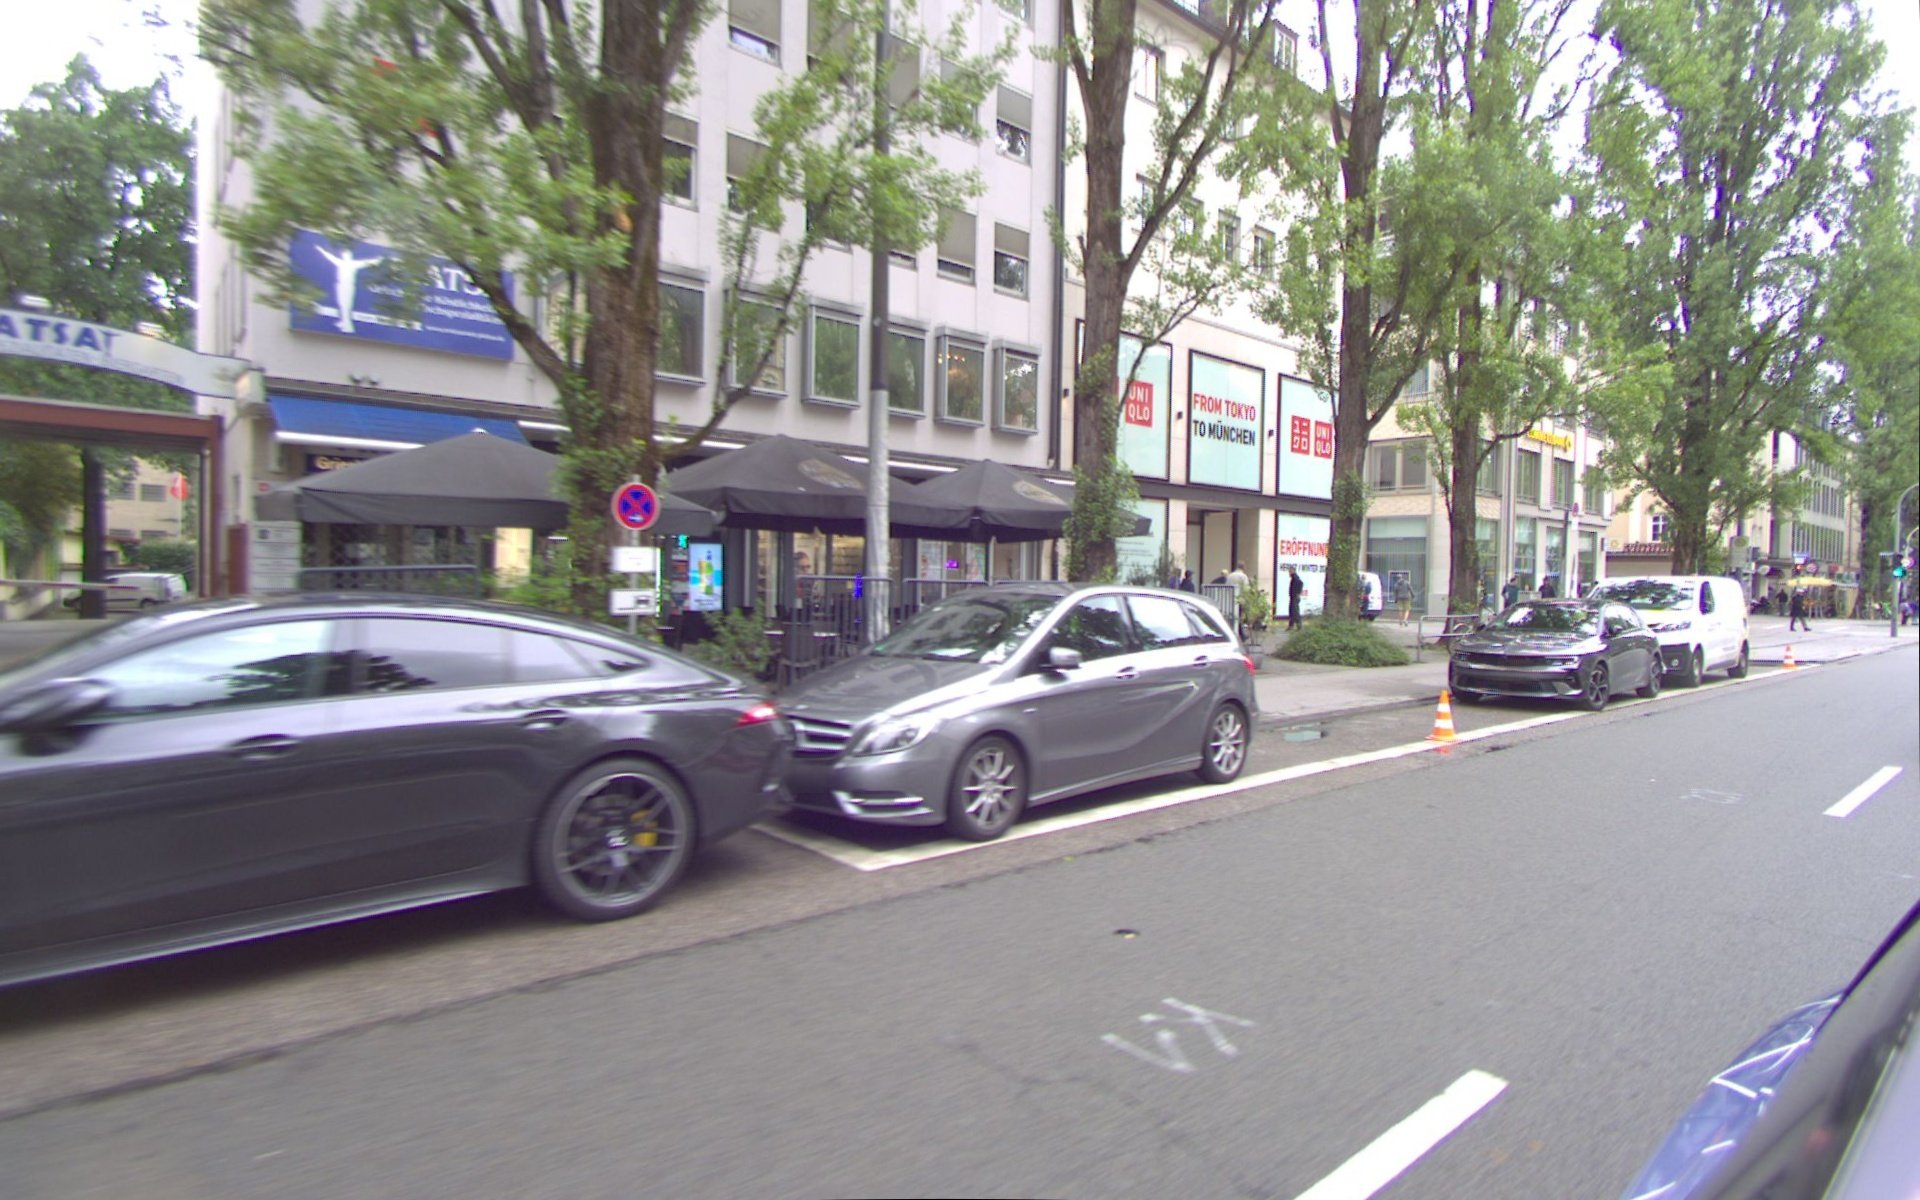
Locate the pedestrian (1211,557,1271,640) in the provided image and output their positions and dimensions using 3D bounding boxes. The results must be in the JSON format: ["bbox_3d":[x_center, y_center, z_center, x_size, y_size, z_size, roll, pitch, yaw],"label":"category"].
[{"bbox_3d":[6.439,-0.047,23.206,1.080,1.864,0.828,0,1,-40],"label":"pedestrian"}]

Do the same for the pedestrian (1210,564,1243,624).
[{"bbox_3d":[7.376,-0.170,28.026,0.666,1.629,0.820,2,1,30],"label":"pedestrian"}]

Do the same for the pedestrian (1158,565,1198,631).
[{"bbox_3d":[5.501,-0.067,25.567,0.671,1.629,0.672,0,1,-34],"label":"pedestrian"}]

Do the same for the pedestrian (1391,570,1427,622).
[{"bbox_3d":[14.825,-0.137,33.420,0.812,1.694,0.985,1,1,9],"label":"pedestrian"}]

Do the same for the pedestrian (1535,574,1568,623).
[{"bbox_3d":[22.528,-0.069,38.519,0.875,1.840,0.819,0,1,-42],"label":"pedestrian"}]

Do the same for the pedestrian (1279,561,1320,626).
[{"bbox_3d":[9.441,-0.188,28.142,0.851,1.786,0.684,0,1,-36],"label":"pedestrian"}]

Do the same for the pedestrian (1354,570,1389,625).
[{"bbox_3d":[12.906,-0.095,31.736,0.946,1.683,0.653,0,1,-40],"label":"pedestrian"}]

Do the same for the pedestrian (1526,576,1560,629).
[{"bbox_3d":[20.112,0.071,34.907,0.844,1.779,0.752,-2,3,-39],"label":"pedestrian"}]

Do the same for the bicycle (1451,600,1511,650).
[{"bbox_3d":[11.427,0.539,22.183,1.697,1.051,0.366,0,1,-33],"label":"bicycle"}]

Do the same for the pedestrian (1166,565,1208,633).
[{"bbox_3d":[5.526,-0.026,24.658,0.757,1.629,0.672,0,0,-37],"label":"pedestrian"}]

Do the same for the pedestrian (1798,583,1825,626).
[{"bbox_3d":[36.106,0.187,42.913,0.739,1.780,0.710,0,1,-39],"label":"pedestrian"}]

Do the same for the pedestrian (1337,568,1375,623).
[{"bbox_3d":[12.755,-0.165,32.606,0.946,1.739,0.751,0,1,-40],"label":"pedestrian"}]

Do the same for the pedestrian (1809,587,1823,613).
[{"bbox_3d":[55.403,0.006,65.527,0.526,1.694,0.542,1,1,-33],"label":"pedestrian"}]

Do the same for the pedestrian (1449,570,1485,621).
[{"bbox_3d":[17.560,-0.155,35.055,0.945,1.739,0.752,0,1,-39],"label":"pedestrian"}]

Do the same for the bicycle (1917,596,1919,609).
[{"bbox_3d":[73.754,0.194,76.550,1.997,0.957,0.282,2,1,42],"label":"bicycle"}]

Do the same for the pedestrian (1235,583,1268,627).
[{"bbox_3d":[8.394,0.128,29.140,0.672,1.249,0.671,0,0,-39],"label":"pedestrian"}]

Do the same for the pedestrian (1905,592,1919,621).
[{"bbox_3d":[52.784,0.363,55.805,0.608,1.536,0.769,0,2,4],"label":"pedestrian"}]

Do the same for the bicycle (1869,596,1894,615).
[{"bbox_3d":[55.882,0.348,61.348,1.774,1.084,0.406,0,-4,-25],"label":"bicycle"}]

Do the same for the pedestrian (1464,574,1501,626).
[{"bbox_3d":[17.623,-0.013,34.114,0.945,1.698,0.752,0,1,-39],"label":"pedestrian"}]

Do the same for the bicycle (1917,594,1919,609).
[{"bbox_3d":[73.565,0.156,76.276,1.996,1.096,0.282,2,1,41],"label":"bicycle"}]

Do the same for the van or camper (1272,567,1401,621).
[{"bbox_3d":[13.818,-0.224,37.348,1.863,1.890,4.116,0,1,-36],"label":"van or camper"}]

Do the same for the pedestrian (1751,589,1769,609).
[{"bbox_3d":[53.502,-0.060,67.663,0.687,1.280,0.777,0,1,-40],"label":"pedestrian"}]

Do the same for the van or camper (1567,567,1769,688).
[{"bbox_3d":[12.841,0.399,18.228,4.817,1.906,1.872,0,1,-41],"label":"van or camper"}]

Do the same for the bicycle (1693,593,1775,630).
[{"bbox_3d":[28.752,0.406,37.622,0.622,1.268,2.348,0,1,-40],"label":"bicycle"}]

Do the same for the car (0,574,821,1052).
[{"bbox_3d":[-3.090,0.640,4.280,4.722,1.450,1.881,0,2,-42],"label":"car"}]

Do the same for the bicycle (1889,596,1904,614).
[{"bbox_3d":[58.033,0.298,62.702,1.740,1.061,0.509,0,2,-43],"label":"bicycle"}]

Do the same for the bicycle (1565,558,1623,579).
[{"bbox_3d":[40.161,-1.973,64.178,0.982,1.268,2.976,0,1,-40],"label":"bicycle"}]

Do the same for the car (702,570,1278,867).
[{"bbox_3d":[0.444,0.585,7.386,4.163,1.525,1.818,0,2,-44],"label":"car"}]

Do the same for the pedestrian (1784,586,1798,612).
[{"bbox_3d":[54.280,-0.058,66.140,0.526,1.694,0.542,1,1,-33],"label":"pedestrian"}]

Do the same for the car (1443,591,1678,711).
[{"bbox_3d":[8.604,0.613,14.345,4.280,1.460,1.721,0,0,-43],"label":"car"}]

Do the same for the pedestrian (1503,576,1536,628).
[{"bbox_3d":[19.669,0.065,35.557,0.844,1.779,0.752,-2,3,-39],"label":"pedestrian"}]

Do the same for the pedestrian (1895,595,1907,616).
[{"bbox_3d":[82.518,0.466,88.737,0.889,1.874,0.658,0,1,-39],"label":"pedestrian"}]

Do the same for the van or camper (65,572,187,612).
[{"bbox_3d":[-39.060,-0.396,47.496,3.994,1.771,1.869,1,1,-17],"label":"van or camper"}]

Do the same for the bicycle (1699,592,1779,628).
[{"bbox_3d":[29.296,0.362,38.100,0.469,1.268,2.320,0,1,-40],"label":"bicycle"}]
